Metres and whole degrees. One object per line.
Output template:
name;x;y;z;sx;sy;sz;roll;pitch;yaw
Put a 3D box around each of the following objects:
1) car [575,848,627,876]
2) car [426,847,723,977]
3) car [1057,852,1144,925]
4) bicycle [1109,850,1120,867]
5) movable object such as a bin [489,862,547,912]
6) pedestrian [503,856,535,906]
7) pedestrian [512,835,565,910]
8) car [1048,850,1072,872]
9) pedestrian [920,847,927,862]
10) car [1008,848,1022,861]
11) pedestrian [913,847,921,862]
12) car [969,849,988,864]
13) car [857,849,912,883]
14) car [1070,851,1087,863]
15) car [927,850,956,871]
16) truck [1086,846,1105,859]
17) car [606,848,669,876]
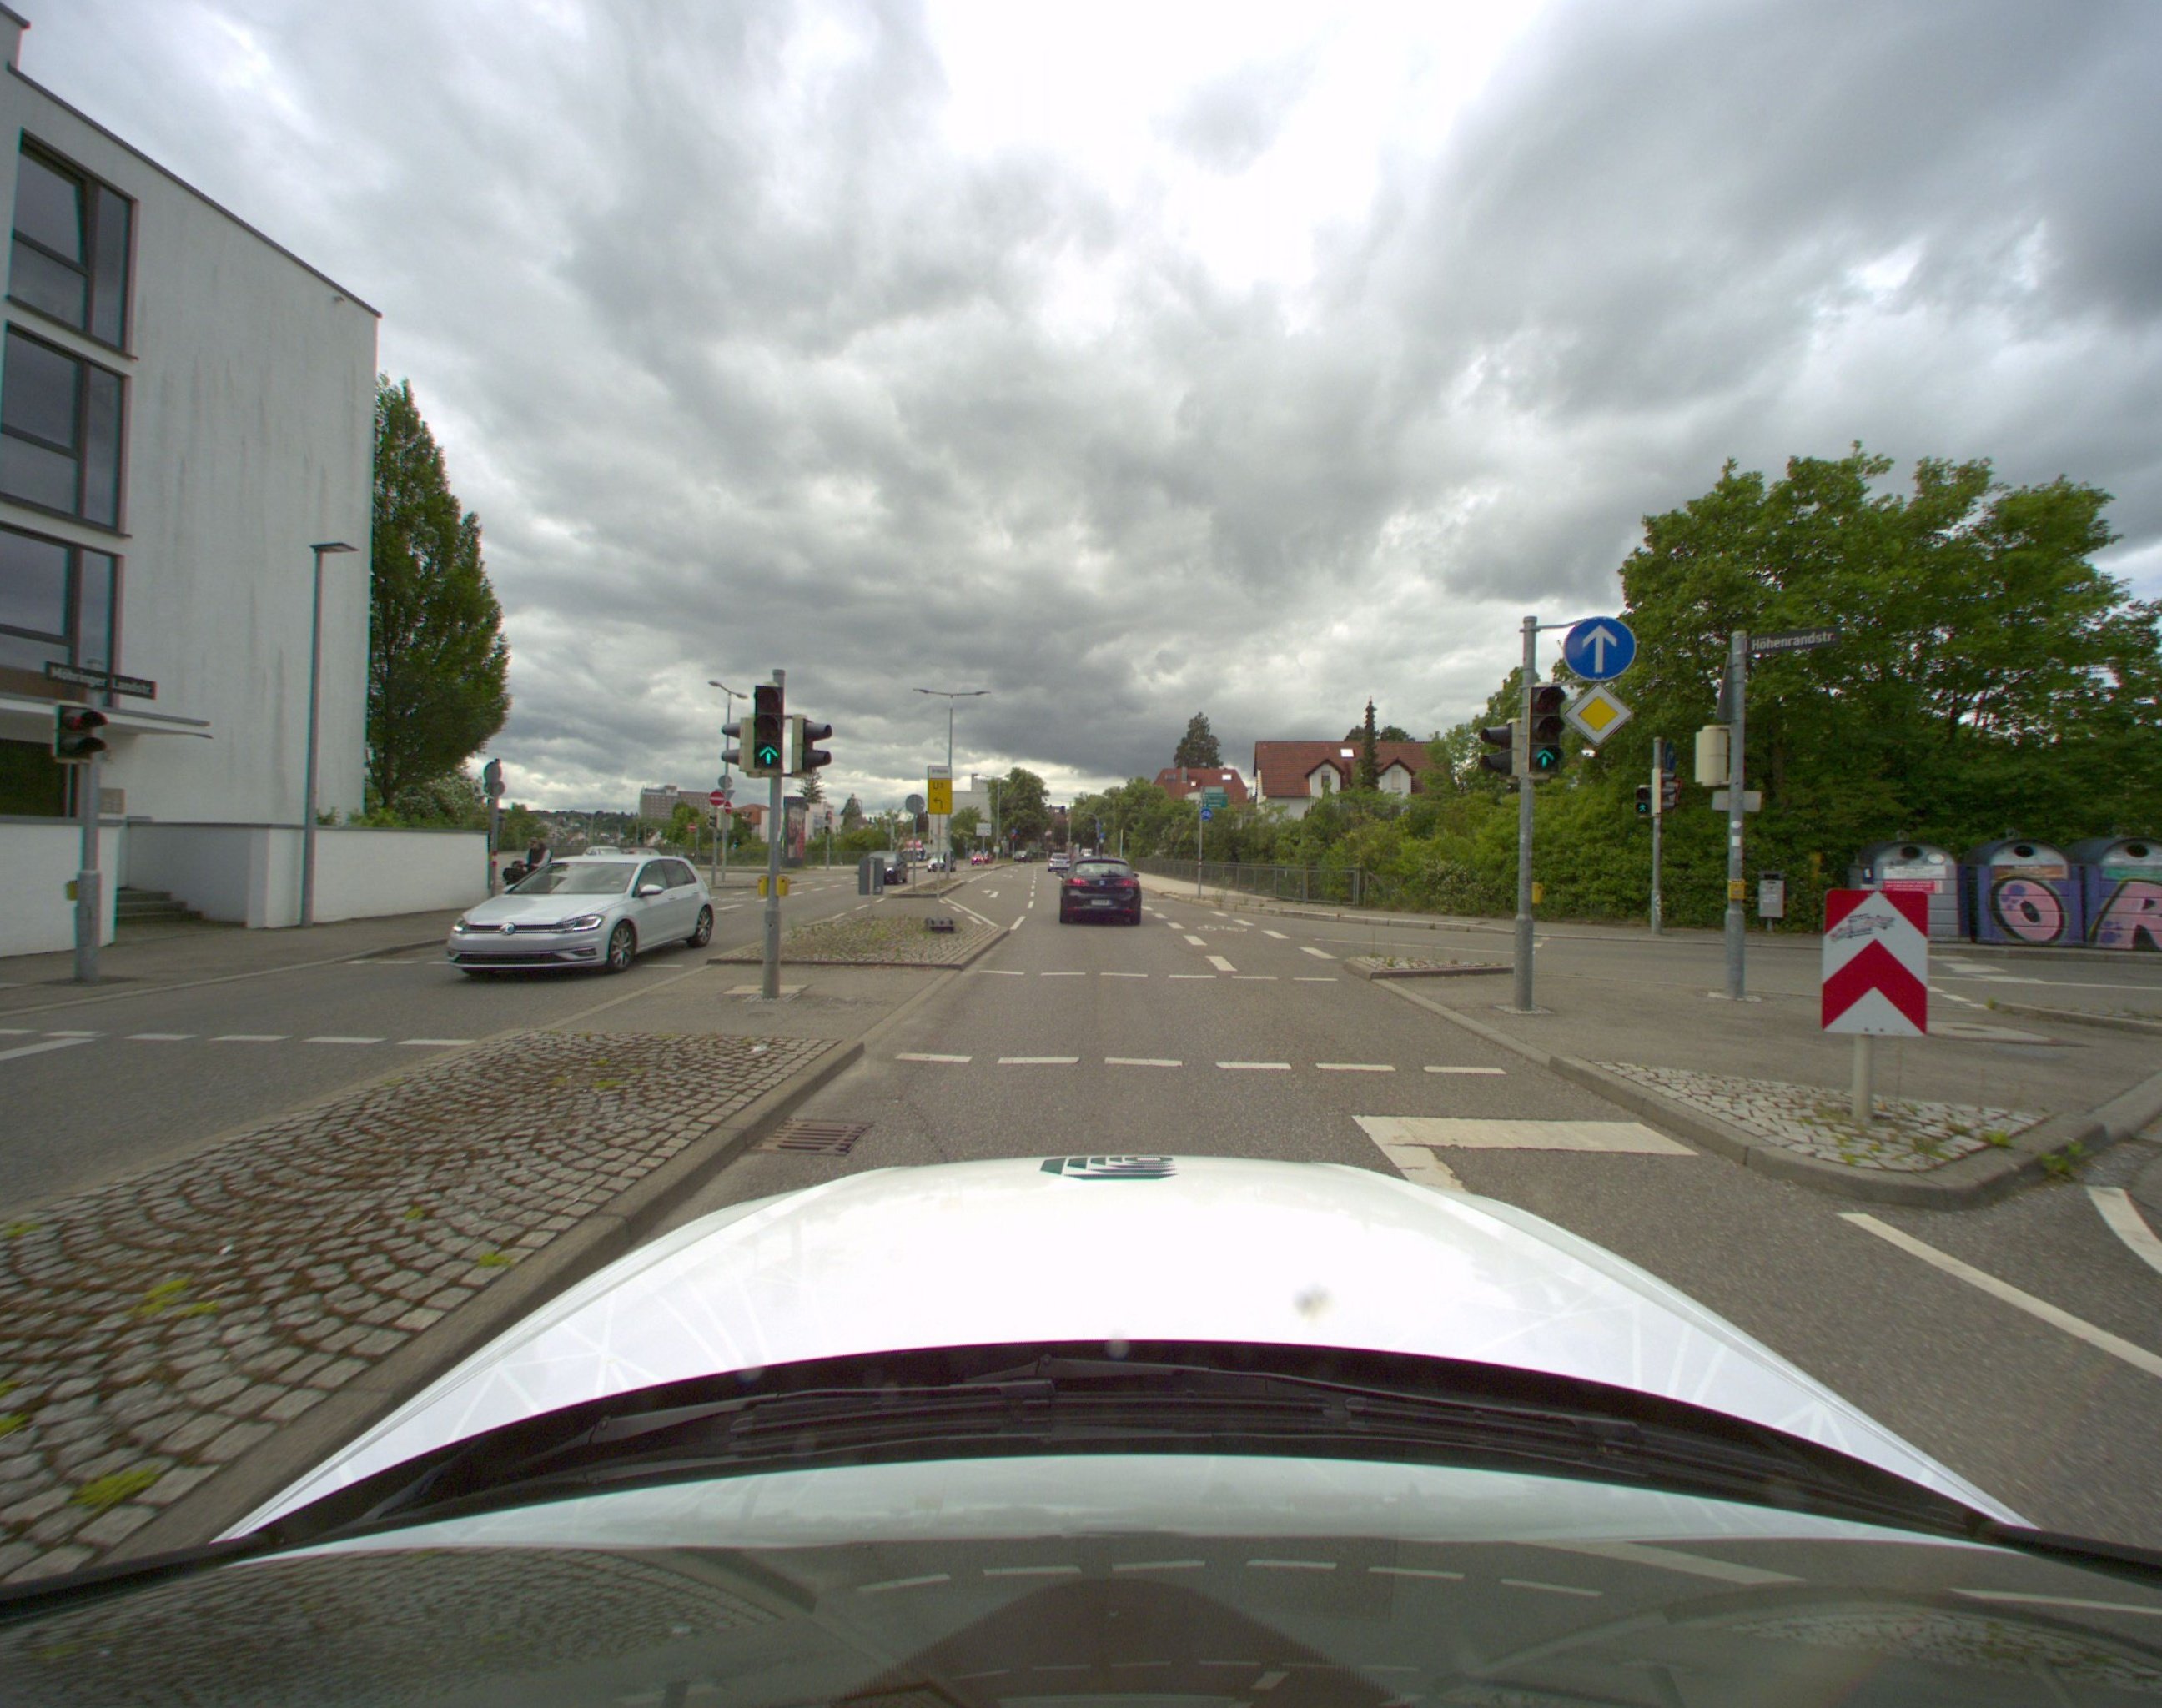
car;-28.226;0.480;47.880;1.657;1.535;4.078;-1;0;-45
car;-6.536;0.648;11.115;1.795;1.444;3.942;1;0;-5
car;0.414;0.698;18.358;1.753;1.448;3.715;0;0;1
bicycle;3.029;0.404;73.461;0.888;1.510;2.785;0;0;3
movable object such as a bin;-11.728;0.679;16.989;0.496;0.960;0.985;5;0;-5
pedestrian;-12.506;0.592;18.120;0.325;1.062;0.443;4;0;-4
pedestrian;-11.844;0.394;17.798;0.530;1.542;0.730;6;0;-5
car;-1.664;0.504;65.252;1.814;1.699;4.251;0;0;-1
pedestrian;-17.165;0.067;88.946;0.656;1.633;1.067;2;0;-9
car;-8.526;0.058;105.352;1.819;1.626;4.272;1;0;-5
pedestrian;-17.909;0.055;88.908;0.656;1.633;0.830;2;0;-9
car;-10.721;0.255;85.156;1.717;1.448;4.060;1;0;-5
car;-8.516;0.485;35.510;1.717;1.391;3.911;-1;0;-5
car;-0.316;0.347;107.140;1.938;1.481;4.246;0;0;-5
car;-9.932;0.447;58.227;1.640;1.409;3.813;1;0;-5
truck;2.693;-0.203;148.951;2.111;2.264;6.829;0;0;13
car;-23.938;0.408;43.891;3.656;1.447;1.786;-1;0;40
